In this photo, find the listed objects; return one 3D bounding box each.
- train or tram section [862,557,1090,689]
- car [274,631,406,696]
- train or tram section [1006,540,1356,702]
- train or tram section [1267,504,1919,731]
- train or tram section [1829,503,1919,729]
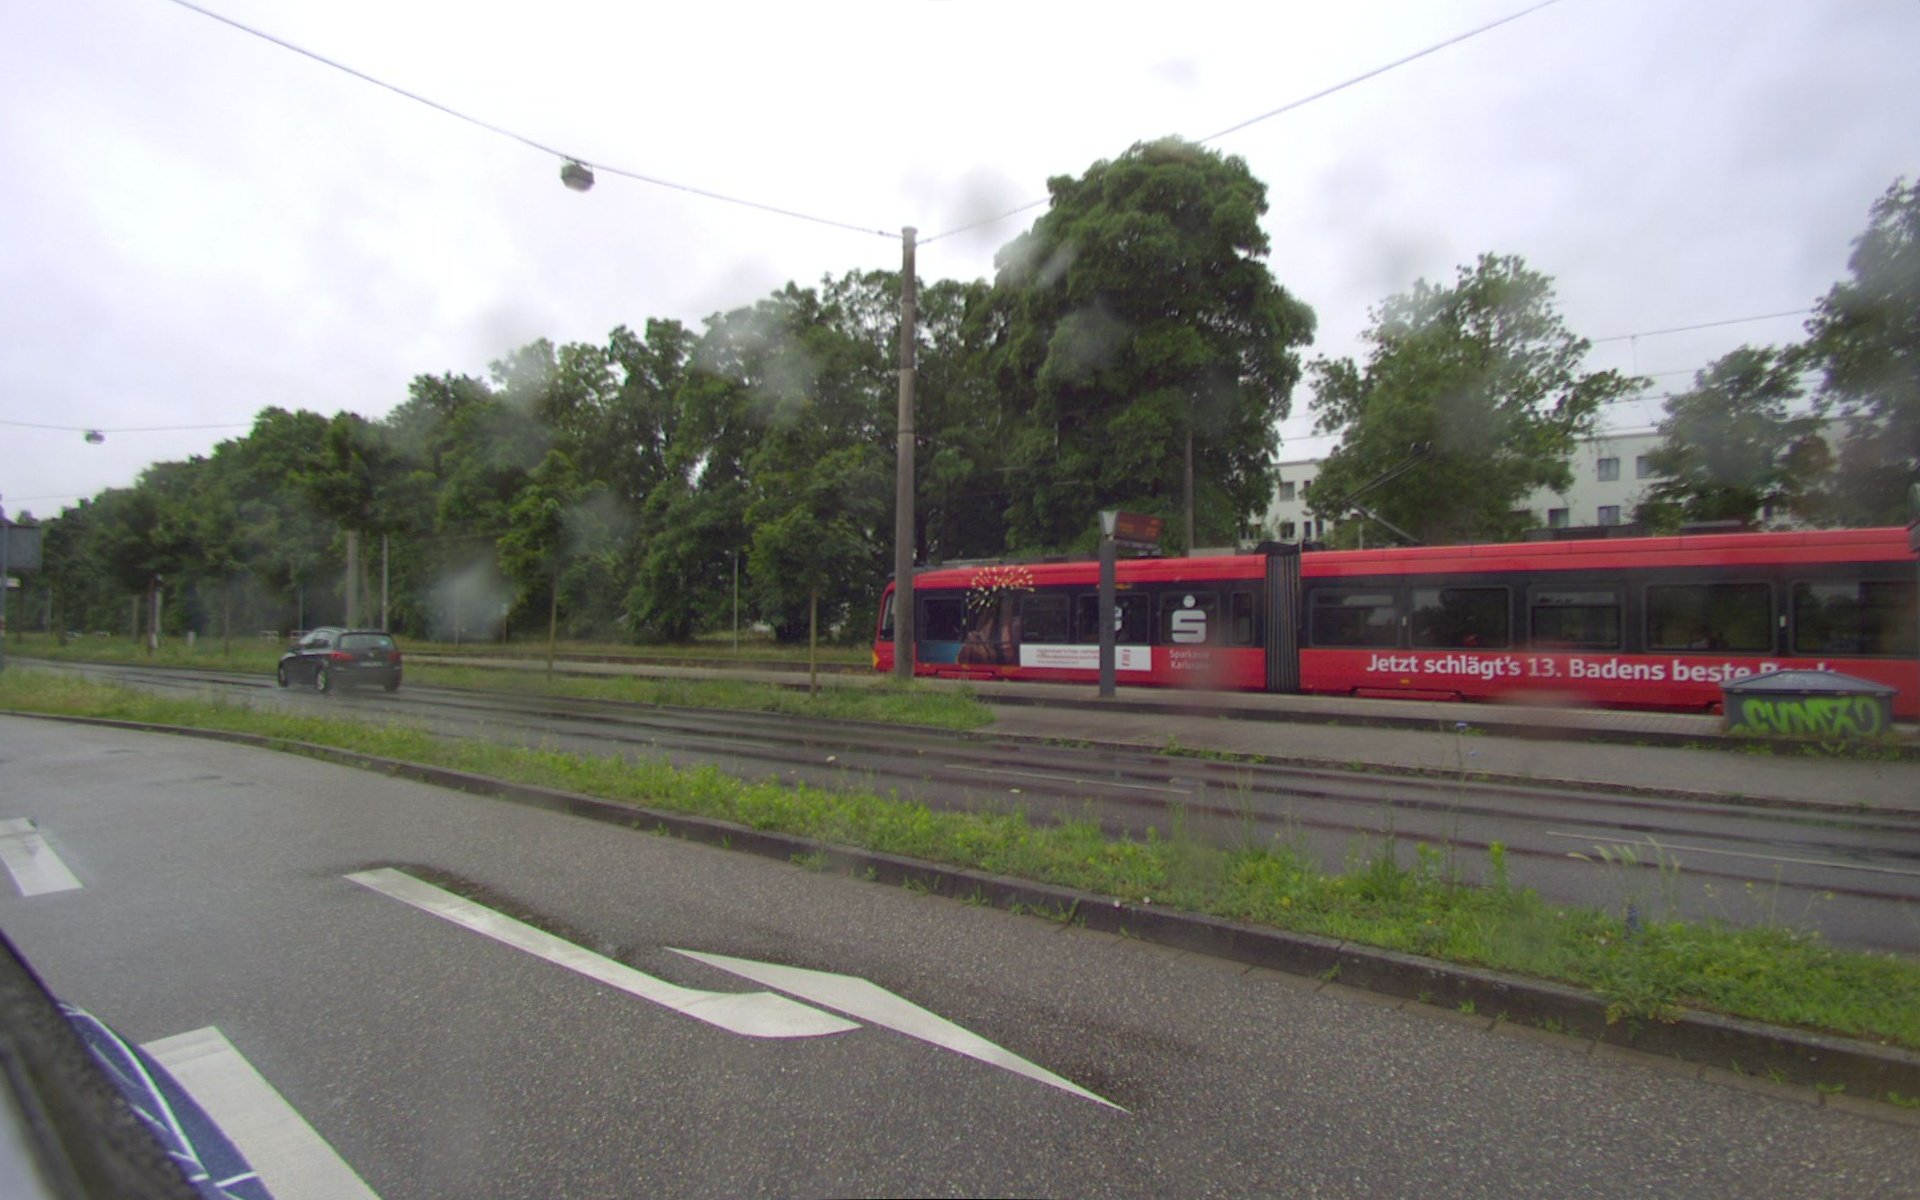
[{"bbox_3d":[0.413,0.692,29.559,5.765,3.444,3.497,-2,-3,40],"label":"train or tram section"},{"bbox_3d":[-15.548,1.522,25.317,3.818,1.448,1.719,-1,-1,40],"label":"car"},{"bbox_3d":[5.322,0.572,25.370,7.896,3.438,3.497,-1,-3,40],"label":"train or tram section"},{"bbox_3d":[11.683,0.403,19.949,10.253,3.427,3.497,-1,-3,40],"label":"train or tram section"},{"bbox_3d":[18.429,0.213,14.226,9.271,3.416,3.497,-1,-3,40],"label":"train or tram section"}]
